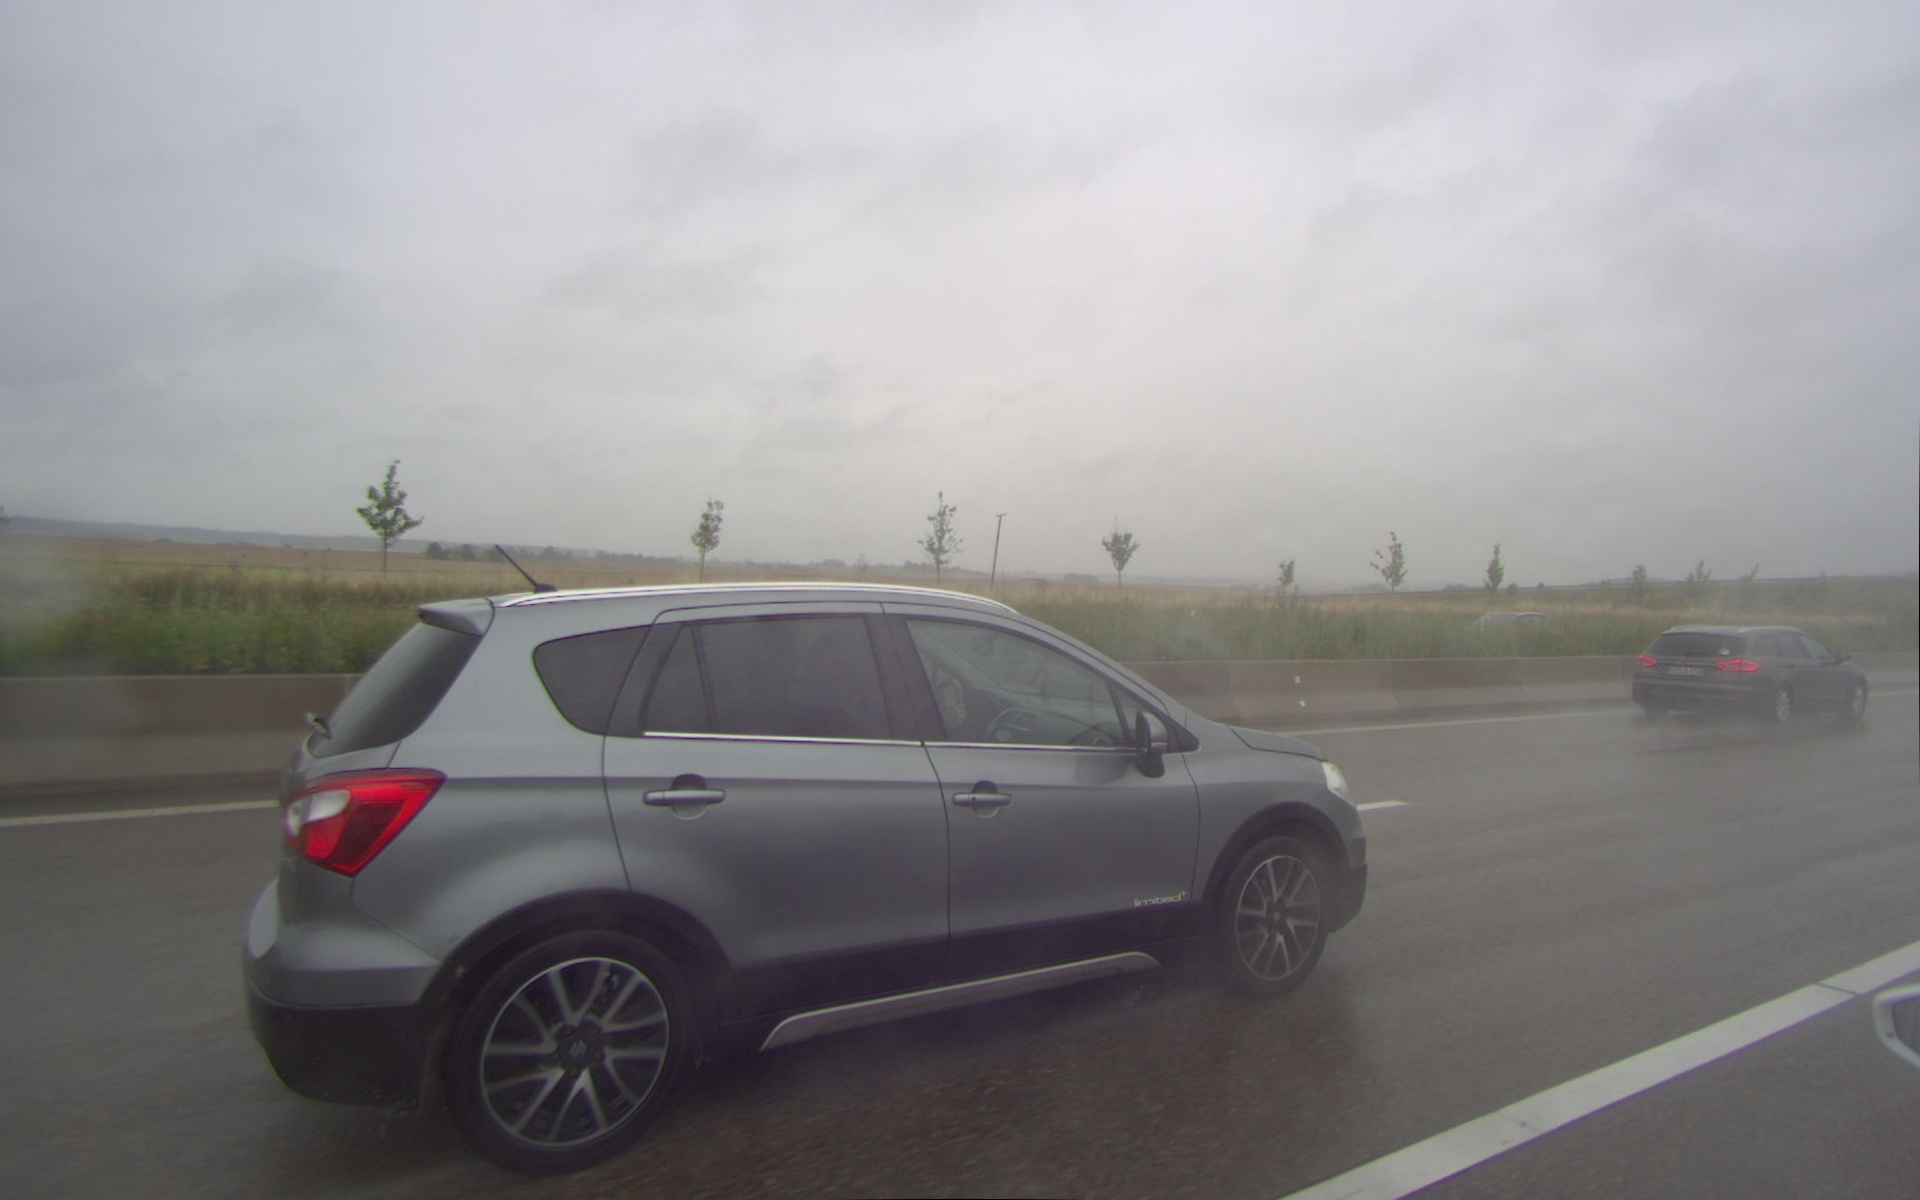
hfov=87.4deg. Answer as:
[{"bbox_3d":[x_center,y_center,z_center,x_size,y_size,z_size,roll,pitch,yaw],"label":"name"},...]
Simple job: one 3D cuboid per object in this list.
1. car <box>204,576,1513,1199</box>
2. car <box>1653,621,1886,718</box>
[{"bbox_3d":[-0.026,0.754,4.153,4.699,1.533,1.838,1,0,-29],"label":"car"},{"bbox_3d":[13.209,1.074,16.357,3.952,1.372,1.605,1,0,-29],"label":"car"}]
